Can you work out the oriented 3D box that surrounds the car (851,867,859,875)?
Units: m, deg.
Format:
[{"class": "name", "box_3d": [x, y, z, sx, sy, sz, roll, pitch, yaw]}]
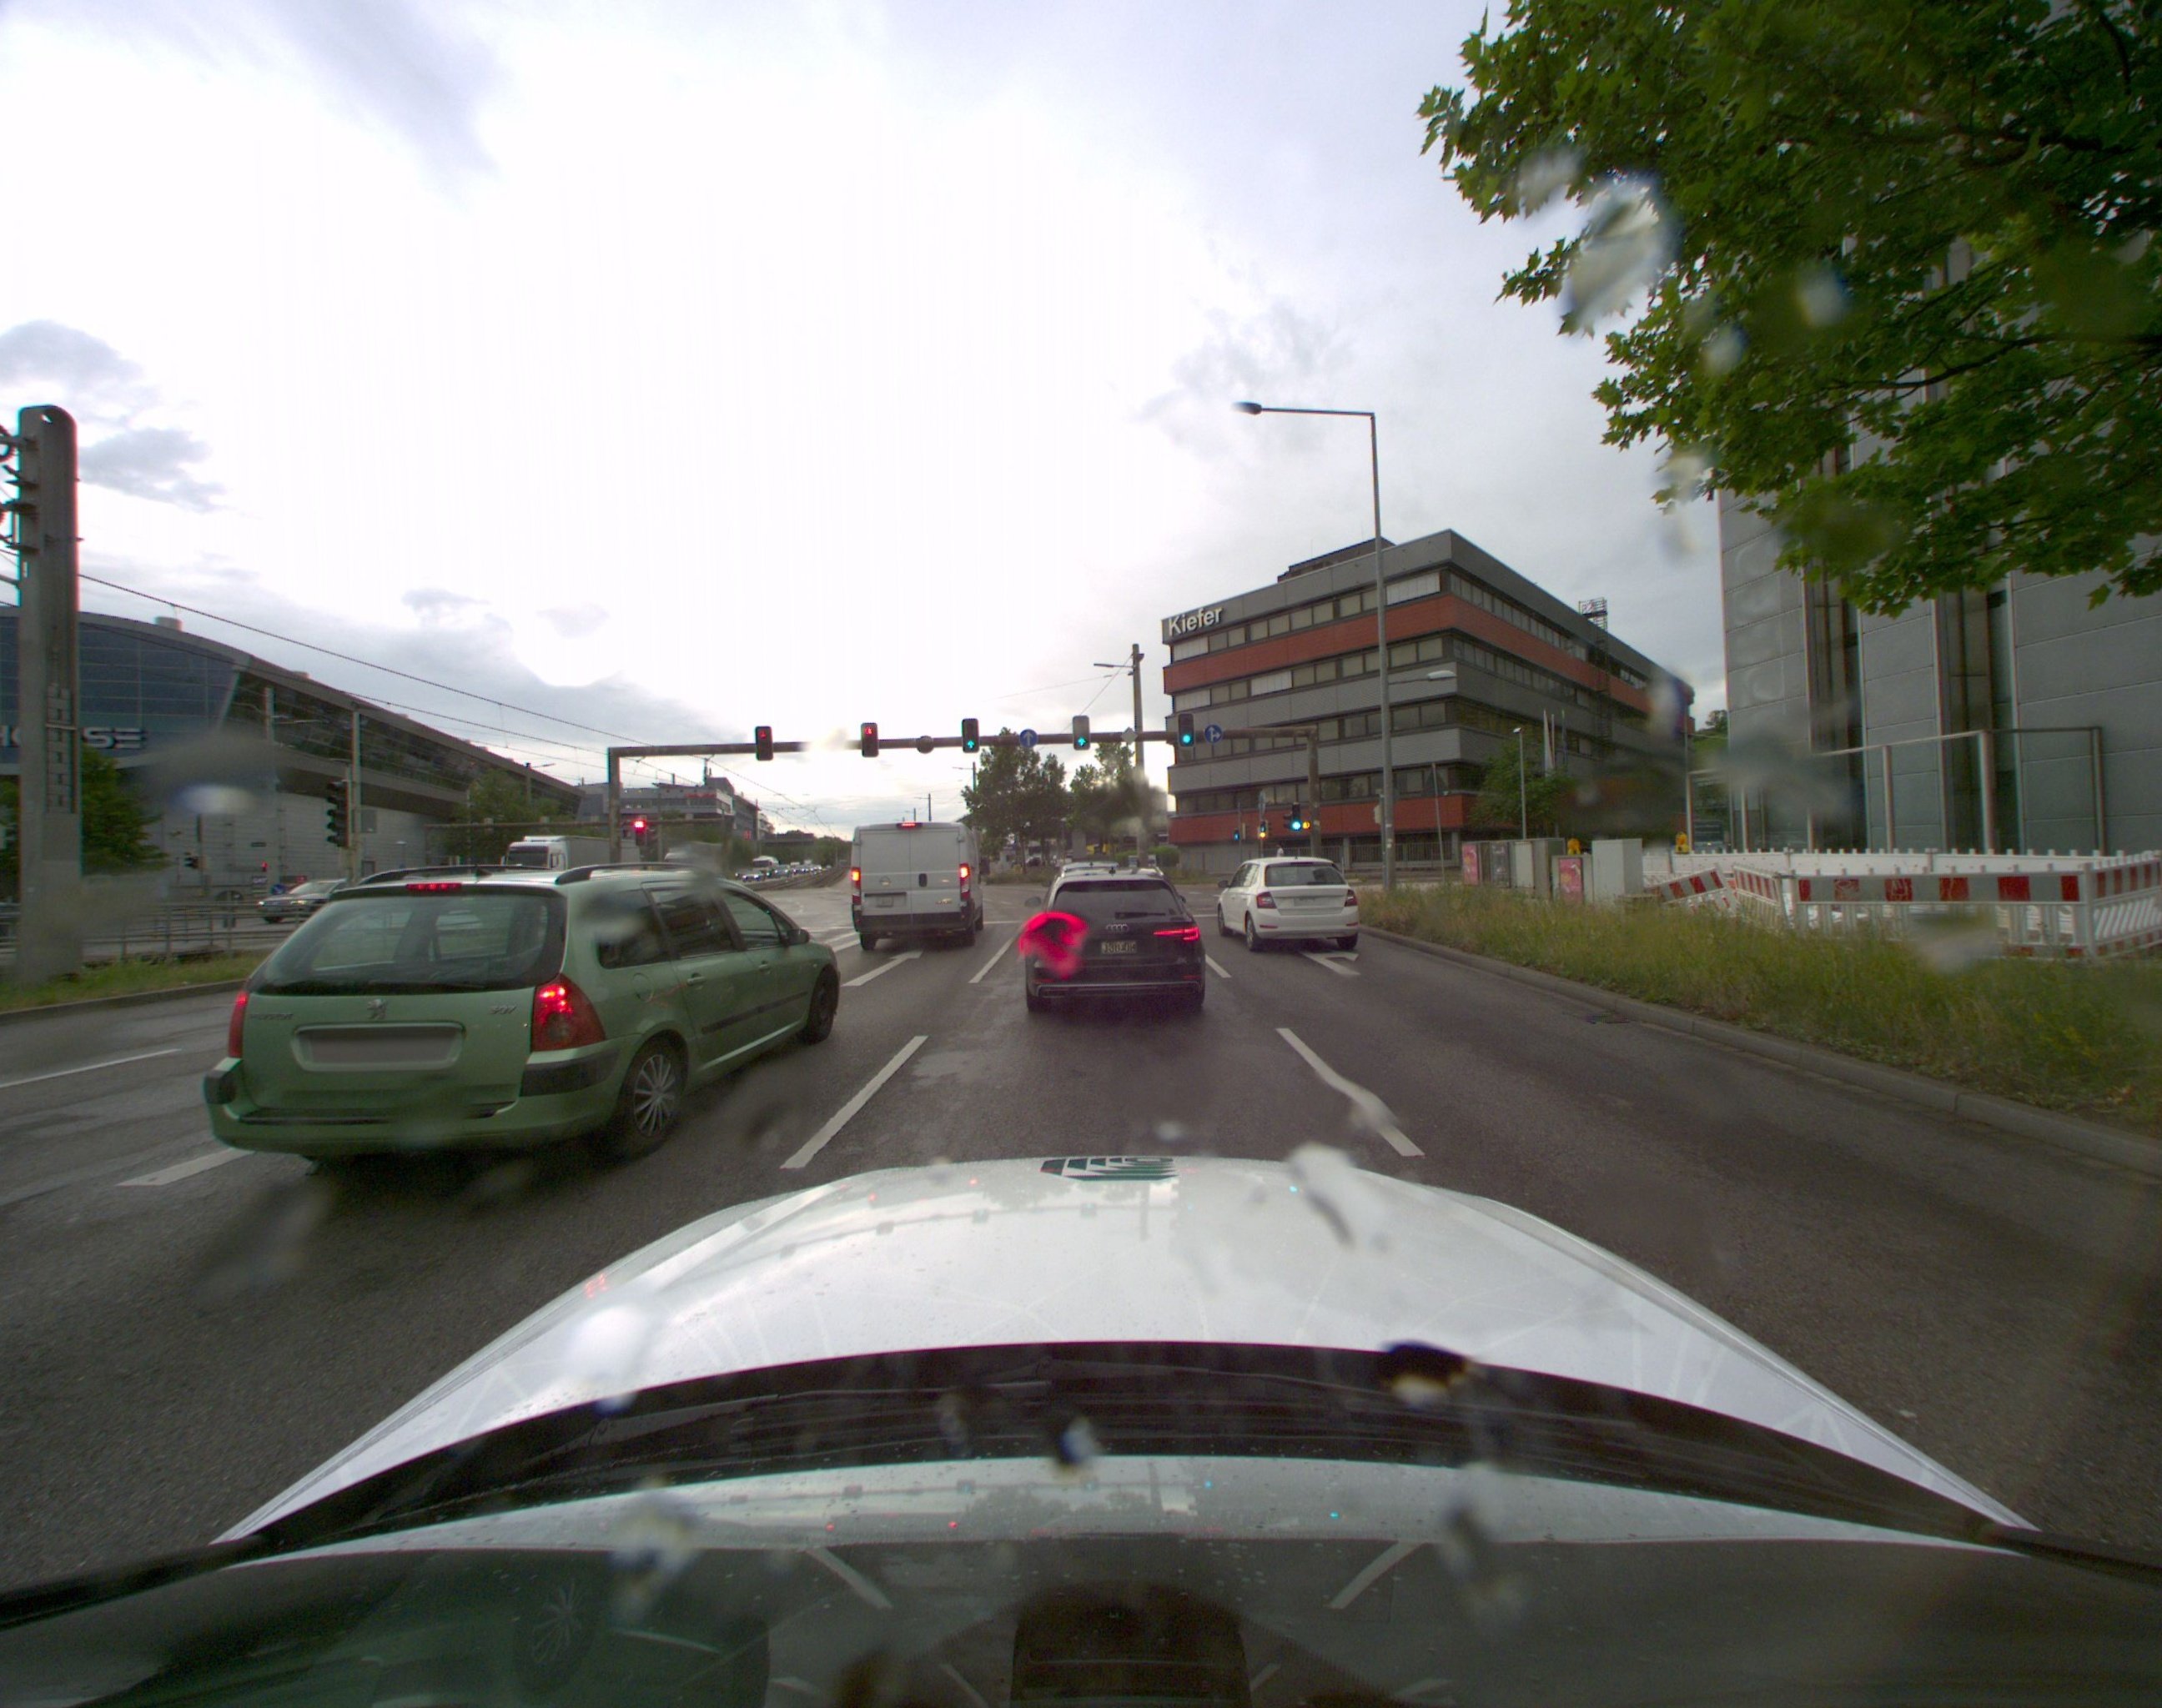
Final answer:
[{"class": "car", "box_3d": [-56.179, 4.255, 202.728, 1.775, 2.014, 4.327, 1, -1, -13]}]

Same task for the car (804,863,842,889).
[{"class": "car", "box_3d": [-20.776, 1.755, 65.725, 1.768, 2.014, 4.344, 0, 0, -2]}]

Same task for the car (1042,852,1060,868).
[{"class": "car", "box_3d": [-4.117, 0.843, 111.203, 1.681, 2.014, 3.524, 1, -2, -14]}]

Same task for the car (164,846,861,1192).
[{"class": "car", "box_3d": [-3.024, 0.754, 5.693, 1.689, 1.468, 4.403, 0, -1, 1]}]

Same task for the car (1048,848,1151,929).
[{"class": "car", "box_3d": [0.452, 0.693, 17.183, 1.886, 1.465, 3.912, -2, -1, 3]}]

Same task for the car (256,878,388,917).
[{"class": "car", "box_3d": [-30.909, 1.749, 33.340, 1.736, 1.462, 4.143, 0, -1, -6]}]

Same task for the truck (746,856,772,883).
[{"class": "truck", "box_3d": [-47.704, 2.273, 120.809, 2.751, 3.805, 5.383, -3, -1, -15]}]

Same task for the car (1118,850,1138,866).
[{"class": "car", "box_3d": [6.058, 0.511, 105.942, 1.678, 2.014, 3.121, 1, -1, -16]}]

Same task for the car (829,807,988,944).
[{"class": "car", "box_3d": [-3.168, 0.423, 16.154, 2.441, 2.294, 4.896, 0, -1, -5]}]

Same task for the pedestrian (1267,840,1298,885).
[{"class": "pedestrian", "box_3d": [9.765, 0.395, 39.503, 1.139, 2.125, 1.223, -3, 1, 1]}]

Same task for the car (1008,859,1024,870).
[{"class": "car", "box_3d": [-10.751, 1.730, 133.732, 1.795, 1.591, 3.977, -2, 0, -16]}]

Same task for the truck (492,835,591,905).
[{"class": "truck", "box_3d": [-33.420, 0.939, 50.747, 2.832, 3.996, 5.966, -2, 0, -10]}]

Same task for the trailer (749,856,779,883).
[{"class": "trailer", "box_3d": [-49.134, 2.394, 126.501, 2.729, 3.854, 11.172, -3, -1, -14]}]

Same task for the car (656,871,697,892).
[{"class": "car", "box_3d": [-33.264, 2.265, 67.081, 1.887, 1.652, 4.081, 1, -1, -10]}]

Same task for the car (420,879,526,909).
[{"class": "car", "box_3d": [-28.262, 1.828, 38.048, 1.905, 1.264, 4.405, 0, -1, -5]}]

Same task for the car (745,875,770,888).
[{"class": "car", "box_3d": [-39.830, 3.398, 100.340, 1.903, 1.555, 4.549, 1, -1, -11]}]

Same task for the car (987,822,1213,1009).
[{"class": "car", "box_3d": [0.227, 0.594, 9.262, 1.986, 1.637, 4.001, -1, -1, 2]}]

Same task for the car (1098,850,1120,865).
[{"class": "car", "box_3d": [3.896, 0.543, 114.373, 1.876, 2.014, 3.749, 1, -2, -19]}]

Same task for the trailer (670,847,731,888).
[{"class": "trailer", "box_3d": [-42.016, 1.575, 90.363, 2.649, 4.125, 12.701, -2, -1, -9]}]

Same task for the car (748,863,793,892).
[{"class": "car", "box_3d": [-23.086, 1.693, 60.686, 1.768, 2.014, 4.344, 0, 0, -2]}]

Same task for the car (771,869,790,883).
[{"class": "car", "box_3d": [-44.552, 3.218, 120.688, 1.996, 1.837, 4.886, 1, 0, -13]}]

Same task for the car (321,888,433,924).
[{"class": "car", "box_3d": [-35.459, 2.576, 41.186, 1.989, 1.628, 4.314, 0, -1, -3]}]

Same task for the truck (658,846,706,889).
[{"class": "truck", "box_3d": [-40.830, 1.406, 83.533, 2.667, 4.130, 6.162, -2, -1, -11]}]

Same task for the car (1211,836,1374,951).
[{"class": "car", "box_3d": [3.437, 0.627, 14.015, 1.822, 1.656, 4.000, -1, -1, 1]}]

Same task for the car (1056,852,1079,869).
[{"class": "car", "box_3d": [-1.721, 0.846, 102.311, 1.995, 2.032, 3.983, -2, 0, -12]}]

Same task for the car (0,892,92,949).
[{"class": "car", "box_3d": [-30.494, 1.857, 22.345, 1.781, 1.503, 3.998, 0, -1, 0]}]

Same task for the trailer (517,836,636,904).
[{"class": "trailer", "box_3d": [-34.353, 1.001, 56.184, 2.795, 4.107, 11.402, -2, 0, -10]}]
